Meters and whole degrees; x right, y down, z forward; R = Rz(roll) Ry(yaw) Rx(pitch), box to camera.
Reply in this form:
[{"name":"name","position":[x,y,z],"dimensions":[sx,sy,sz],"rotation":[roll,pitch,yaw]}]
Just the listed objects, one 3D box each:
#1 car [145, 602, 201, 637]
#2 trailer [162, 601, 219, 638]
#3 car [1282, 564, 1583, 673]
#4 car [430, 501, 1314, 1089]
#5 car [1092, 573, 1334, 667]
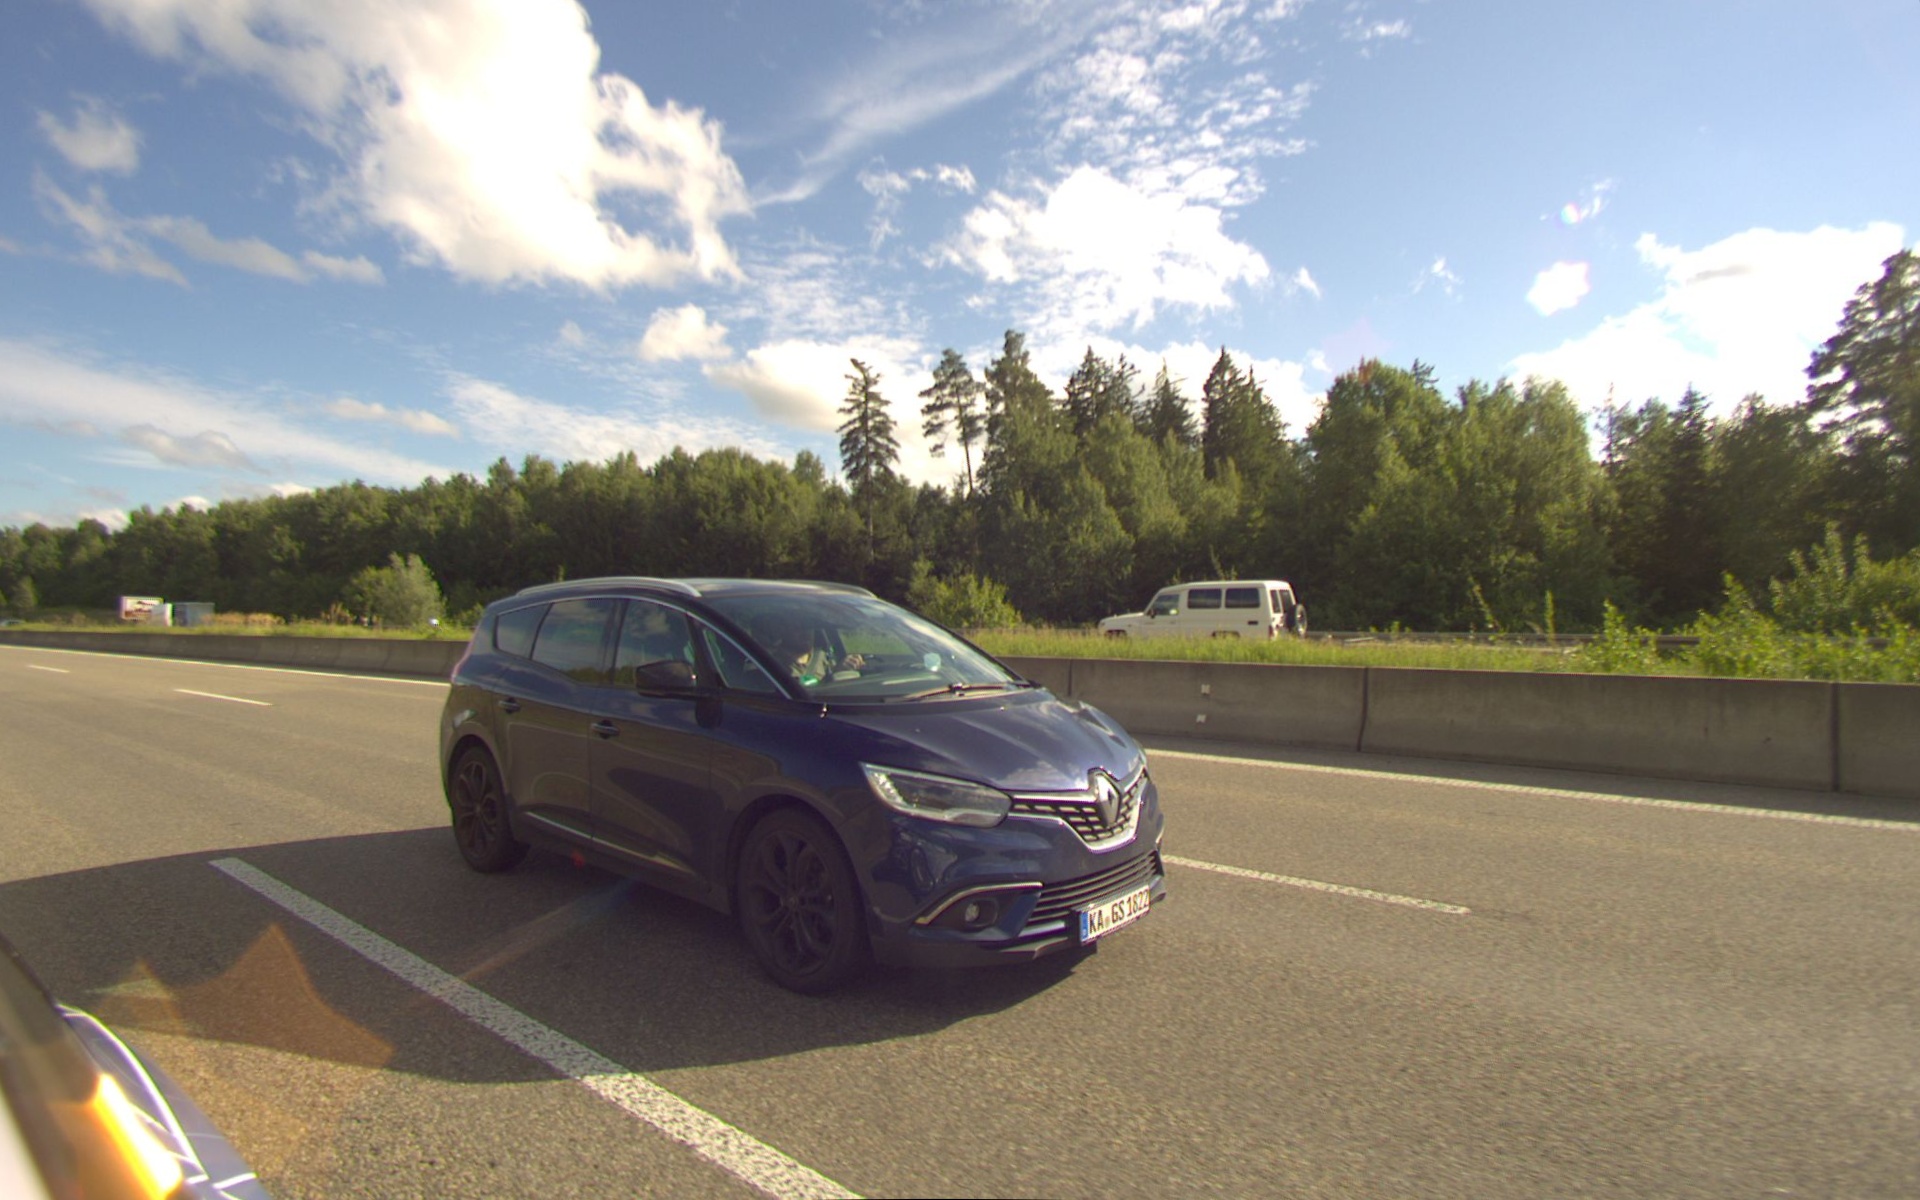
[{"name":"car","position":[-63.645,1.605,81.794],"dimensions":[5.881,2.704,2.248],"rotation":[-1,-1,39]},{"name":"trailer","position":[-59.923,1.519,78.808],"dimensions":[5.555,2.704,2.248],"rotation":[-1,-1,38]},{"name":"car","position":[9.761,0.386,21.253],"dimensions":[5.384,2.029,1.973],"rotation":[-1,-1,41]},{"name":"car","position":[-0.789,0.606,5.219],"dimensions":[4.527,1.720,1.973],"rotation":[-1,-1,42]},{"name":"car","position":[6.022,0.479,24.547],"dimensions":[5.384,2.029,1.973],"rotation":[-1,-1,41]}]
